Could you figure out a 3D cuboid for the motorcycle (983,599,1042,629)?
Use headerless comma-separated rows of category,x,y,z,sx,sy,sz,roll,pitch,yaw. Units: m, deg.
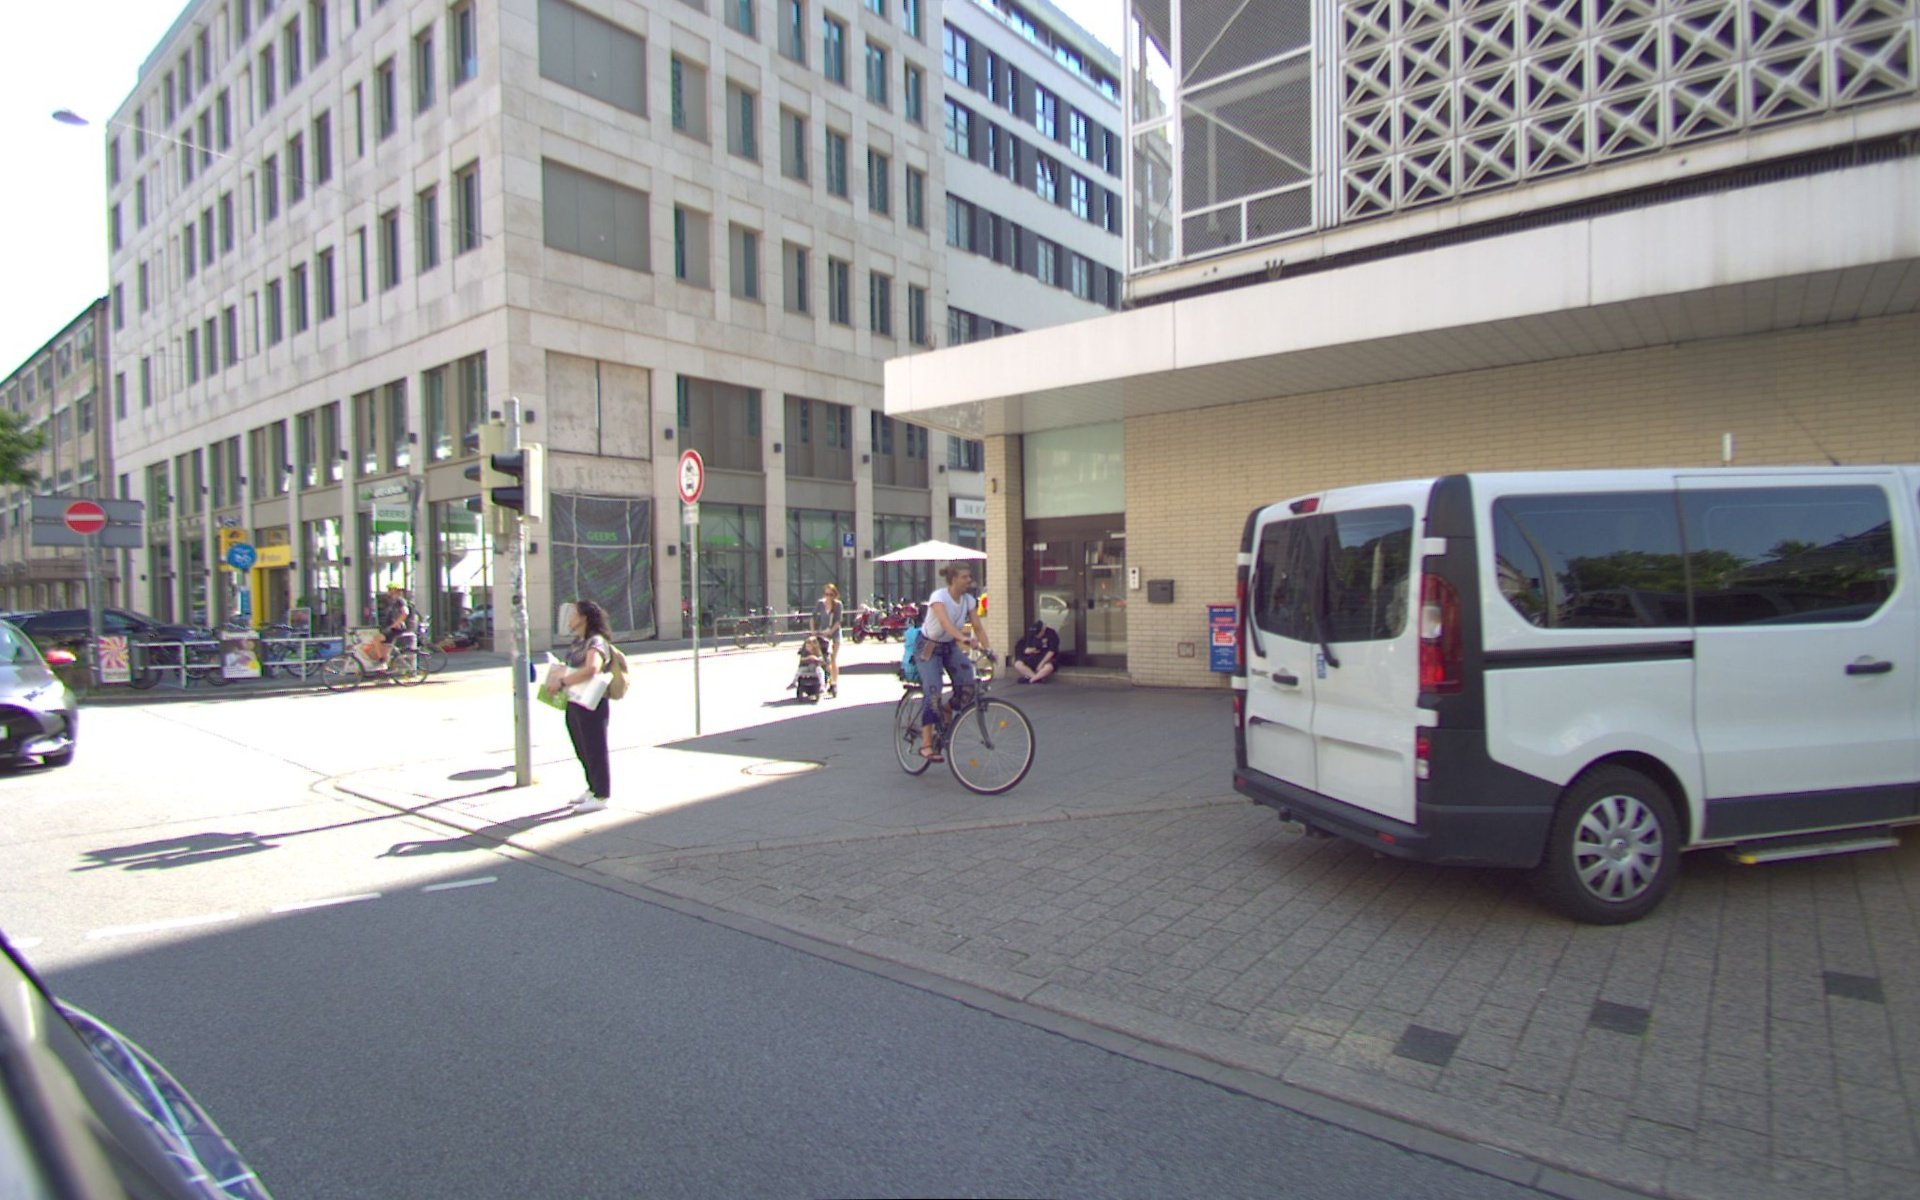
motorcycle,1.894,0.501,36.355,2.039,0.946,0.706,-2,1,6

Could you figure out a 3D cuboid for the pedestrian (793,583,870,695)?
pedestrian,-1.968,0.587,15.561,0.835,1.671,0.839,-2,0,20

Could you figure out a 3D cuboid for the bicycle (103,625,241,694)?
bicycle,-14.912,1.119,19.188,2.033,1.182,0.606,-2,1,-6

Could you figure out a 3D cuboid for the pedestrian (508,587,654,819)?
pedestrian,-2.743,0.711,7.344,0.677,1.571,0.635,-2,1,28

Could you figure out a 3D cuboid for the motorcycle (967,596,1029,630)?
motorcycle,1.283,0.432,34.602,2.034,1.075,0.605,-3,1,-2

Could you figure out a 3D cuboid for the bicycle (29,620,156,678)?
bicycle,-19.951,1.112,23.331,0.483,1.135,2.122,-3,1,35

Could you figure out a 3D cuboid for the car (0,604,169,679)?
car,-24.763,1.127,28.127,4.109,1.648,2.105,-7,4,-42

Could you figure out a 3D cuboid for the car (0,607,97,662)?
car,-32.746,1.274,34.931,3.970,1.604,1.825,-6,4,-18

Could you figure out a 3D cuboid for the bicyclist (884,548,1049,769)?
bicyclist,0.032,0.412,7.760,0.724,1.550,1.080,-2,0,-35

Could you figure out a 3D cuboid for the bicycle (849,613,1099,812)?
bicycle,0.021,0.766,7.785,0.724,1.277,2.217,-2,0,-35

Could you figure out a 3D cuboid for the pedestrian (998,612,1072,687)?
pedestrian,1.169,0.750,15.757,0.840,1.065,0.715,-1,4,38

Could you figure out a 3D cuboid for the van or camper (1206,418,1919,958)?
van or camper,3.908,0.230,5.291,4.584,2.028,2.005,-3,1,-11

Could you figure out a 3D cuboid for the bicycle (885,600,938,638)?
bicycle,-1.537,0.605,32.666,0.454,1.135,2.037,-2,0,39

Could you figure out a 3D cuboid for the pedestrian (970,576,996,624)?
pedestrian,0.875,-0.003,38.142,0.667,1.771,0.757,-1,0,40

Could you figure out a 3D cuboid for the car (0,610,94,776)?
car,-10.349,0.900,10.242,4.104,1.489,1.844,-3,-3,41

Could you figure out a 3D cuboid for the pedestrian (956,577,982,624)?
pedestrian,0.338,0.036,38.557,0.667,1.771,0.757,-1,0,40

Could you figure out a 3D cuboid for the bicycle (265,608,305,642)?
bicycle,-23.321,0.871,34.966,2.159,1.115,0.491,-1,2,39

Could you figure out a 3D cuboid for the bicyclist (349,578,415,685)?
bicyclist,-11.006,0.580,19.256,0.832,1.974,1.017,-1,0,-45

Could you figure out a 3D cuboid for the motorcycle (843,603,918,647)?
motorcycle,-2.284,0.719,29.112,2.044,1.182,0.654,-3,-2,13

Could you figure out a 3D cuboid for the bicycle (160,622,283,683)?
bicycle,-16.017,1.128,22.010,2.029,1.135,0.564,-4,1,-26

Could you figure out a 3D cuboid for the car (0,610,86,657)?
car,-35.360,1.358,37.269,4.427,1.442,1.869,-7,5,-31

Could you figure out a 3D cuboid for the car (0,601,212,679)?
car,-21.992,0.969,26.143,3.965,1.614,1.965,-4,3,-28

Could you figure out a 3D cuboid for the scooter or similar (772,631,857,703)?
scooter or similar,-2.145,0.974,14.976,0.895,0.972,0.967,-1,1,19

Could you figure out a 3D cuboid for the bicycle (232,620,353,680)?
bicycle,-14.036,1.035,21.350,2.029,1.135,0.649,-2,0,-25

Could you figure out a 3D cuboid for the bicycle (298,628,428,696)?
bicycle,-11.237,1.146,19.099,1.963,1.135,0.800,-2,-1,-44

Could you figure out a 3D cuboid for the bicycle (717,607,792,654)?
bicycle,-5.557,0.805,27.497,0.639,1.135,2.037,3,3,39

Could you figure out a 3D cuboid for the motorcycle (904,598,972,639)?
motorcycle,-0.694,0.582,31.704,2.038,1.182,0.653,-2,-1,4

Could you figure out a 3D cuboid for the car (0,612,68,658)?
car,-37.539,1.428,39.338,1.818,1.539,3.950,1,5,38

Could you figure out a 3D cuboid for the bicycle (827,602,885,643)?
bicycle,-3.132,0.651,30.587,0.454,1.135,2.039,4,3,37

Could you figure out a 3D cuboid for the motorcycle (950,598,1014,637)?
motorcycle,0.732,0.565,33.459,2.038,1.182,0.604,-2,1,4

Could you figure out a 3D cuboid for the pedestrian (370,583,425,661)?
pedestrian,-14.275,0.541,25.695,0.844,1.892,0.830,-1,4,40

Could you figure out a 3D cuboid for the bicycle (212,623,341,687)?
bicycle,-13.559,1.077,20.123,2.030,1.178,0.607,-1,0,-14

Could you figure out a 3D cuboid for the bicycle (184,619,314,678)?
bicycle,-16.021,1.079,22.874,2.289,1.135,0.564,-4,2,-26

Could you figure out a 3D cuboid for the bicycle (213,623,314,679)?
bicycle,-16.123,1.160,23.471,1.835,1.135,0.486,-4,1,-26

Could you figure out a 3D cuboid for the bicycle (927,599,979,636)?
bicycle,-0.229,0.584,34.439,0.570,1.117,2.038,-2,1,39

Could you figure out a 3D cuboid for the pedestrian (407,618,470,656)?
pedestrian,-13.781,0.968,26.756,0.840,0.932,1.238,-1,0,38
